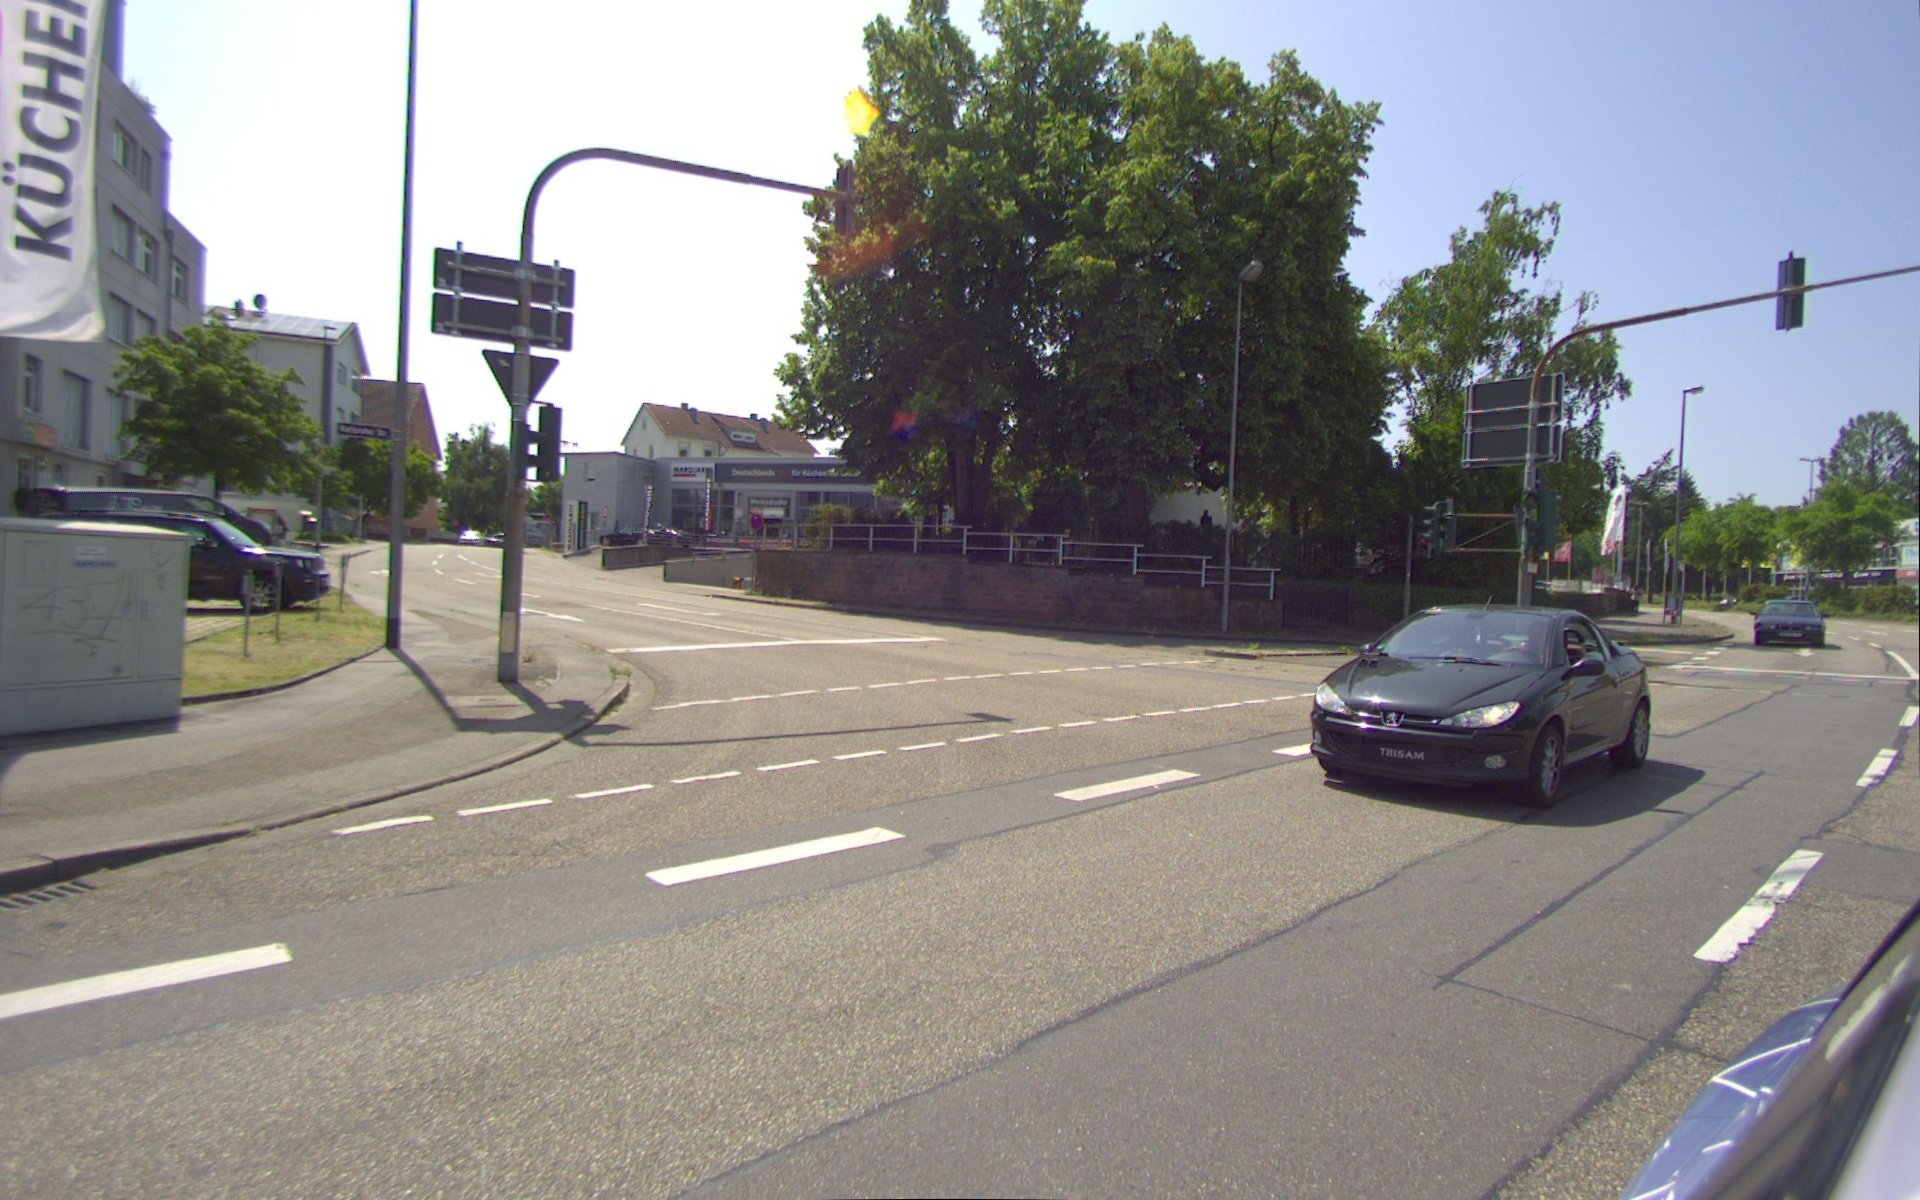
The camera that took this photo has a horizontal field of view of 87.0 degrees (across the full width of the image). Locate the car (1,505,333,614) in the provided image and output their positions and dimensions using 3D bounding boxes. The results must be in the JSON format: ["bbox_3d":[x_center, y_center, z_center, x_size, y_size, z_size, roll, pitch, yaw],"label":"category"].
[{"bbox_3d":[-13.374,-0.635,17.403,4.240,1.696,1.546,0,1,-26],"label":"car"}]

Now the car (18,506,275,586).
[{"bbox_3d":[-17.656,-1.117,22.212,1.526,1.552,4.194,-1,1,22],"label":"car"}]

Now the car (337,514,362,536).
[{"bbox_3d":[-50.017,-6.143,82.886,1.689,1.528,3.955,0,1,-32],"label":"car"}]

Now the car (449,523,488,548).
[{"bbox_3d":[-44.050,-5.789,90.744,1.960,2.039,4.005,0,1,-6],"label":"car"}]

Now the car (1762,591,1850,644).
[{"bbox_3d":[25.666,0.467,30.662,1.694,1.390,3.936,3,3,44],"label":"car"}]

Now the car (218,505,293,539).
[{"bbox_3d":[-38.646,-4.248,55.475,3.964,1.683,1.861,0,1,29],"label":"car"}]

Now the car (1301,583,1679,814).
[{"bbox_3d":[4.427,0.625,8.234,3.599,1.443,1.602,1,1,-43],"label":"car"}]

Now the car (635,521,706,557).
[{"bbox_3d":[-18.765,-3.955,65.694,3.946,2.038,1.990,4,2,16],"label":"car"}]

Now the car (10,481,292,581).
[{"bbox_3d":[-19.462,-1.547,24.700,1.869,2.063,5.152,-1,0,23],"label":"car"}]

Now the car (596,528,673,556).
[{"bbox_3d":[-20.295,-3.615,63.177,4.120,1.473,1.990,4,2,16],"label":"car"}]
